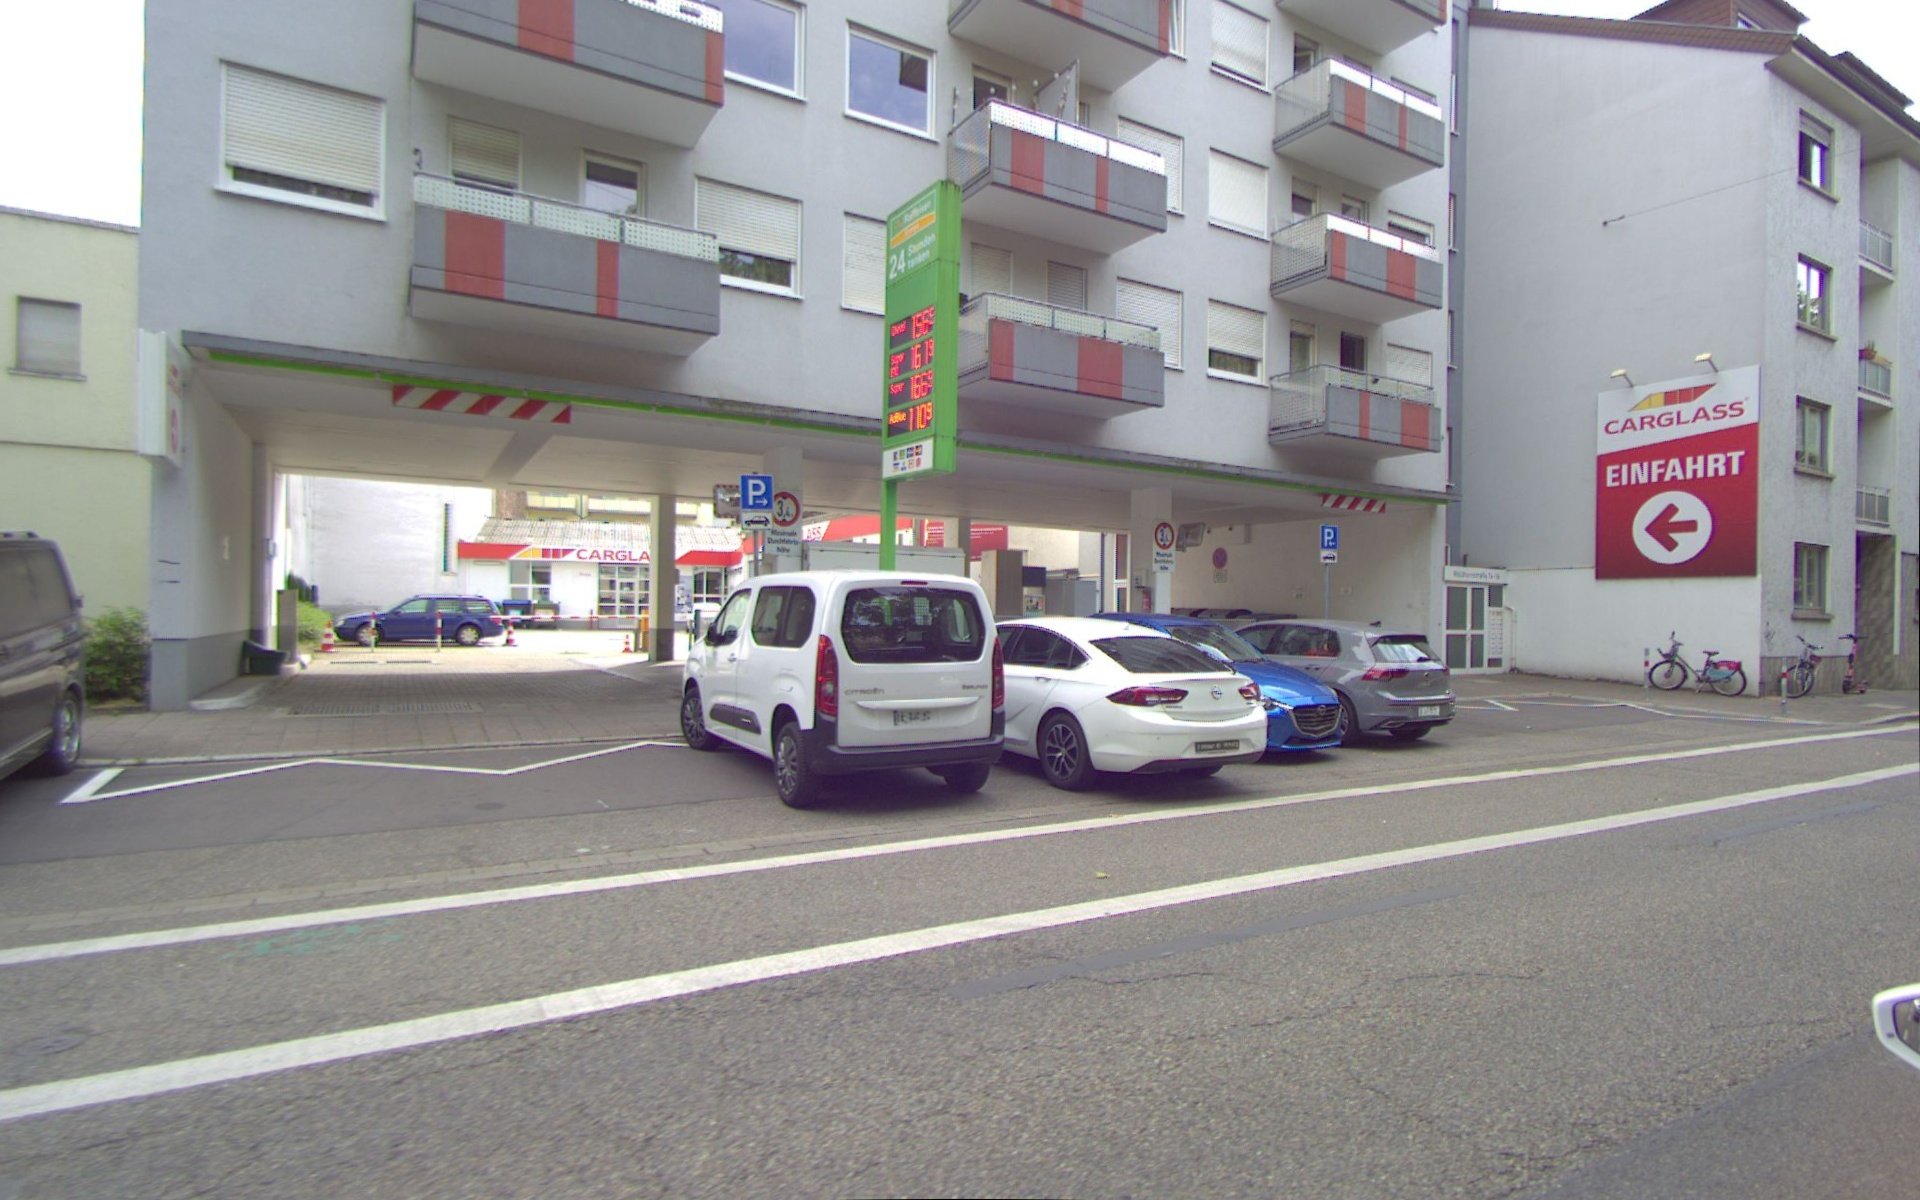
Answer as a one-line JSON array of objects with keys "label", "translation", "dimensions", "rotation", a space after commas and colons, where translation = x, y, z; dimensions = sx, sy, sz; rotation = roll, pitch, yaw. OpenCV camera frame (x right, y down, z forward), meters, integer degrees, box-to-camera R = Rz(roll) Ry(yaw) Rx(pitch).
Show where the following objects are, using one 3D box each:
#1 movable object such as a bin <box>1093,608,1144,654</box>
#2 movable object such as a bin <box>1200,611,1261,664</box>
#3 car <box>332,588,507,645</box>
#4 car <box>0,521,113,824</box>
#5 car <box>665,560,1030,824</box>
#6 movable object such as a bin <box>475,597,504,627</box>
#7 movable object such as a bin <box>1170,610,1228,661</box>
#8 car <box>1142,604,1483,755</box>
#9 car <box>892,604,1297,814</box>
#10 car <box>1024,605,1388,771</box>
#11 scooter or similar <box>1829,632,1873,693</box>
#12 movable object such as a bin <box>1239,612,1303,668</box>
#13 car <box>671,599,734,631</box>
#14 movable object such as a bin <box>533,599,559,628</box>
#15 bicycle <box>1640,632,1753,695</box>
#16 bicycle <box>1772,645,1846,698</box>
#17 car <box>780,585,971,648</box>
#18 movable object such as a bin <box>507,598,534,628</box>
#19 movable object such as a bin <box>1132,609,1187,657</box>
[{"label": "movable object such as a bin", "translation": [4.810, 0.925, 30.510], "dimensions": [1.162, 1.370, 1.039], "rotation": [1, -1, -28]}, {"label": "movable object such as a bin", "translation": [7.168, 0.978, 26.634], "dimensions": [1.162, 1.370, 1.039], "rotation": [1, -1, -28]}, {"label": "car", "translation": [-15.595, 0.472, 29.101], "dimensions": [4.317, 1.542, 1.830], "rotation": [1, 0, -31]}, {"label": "car", "translation": [-7.231, 0.436, 6.338], "dimensions": [1.969, 1.960, 4.745], "rotation": [1, 2, -29]}, {"label": "car", "translation": [-1.307, 0.603, 9.456], "dimensions": [1.901, 1.873, 4.191], "rotation": [1, 2, -30]}, {"label": "movable object such as a bin", "translation": [-23.321, 0.604, 49.806], "dimensions": [1.147, 1.462, 1.244], "rotation": [1, 0, -20]}, {"label": "movable object such as a bin", "translation": [6.576, 0.965, 27.686], "dimensions": [1.162, 1.370, 1.039], "rotation": [1, -1, -28]}, {"label": "car", "translation": [4.524, 0.912, 13.545], "dimensions": [1.815, 1.534, 4.131], "rotation": [1, 2, -30]}, {"label": "car", "translation": [1.082, 0.879, 10.165], "dimensions": [1.852, 1.470, 4.251], "rotation": [1, 2, -30]}, {"label": "car", "translation": [2.753, 0.900, 12.276], "dimensions": [1.888, 1.470, 4.280], "rotation": [1, 2, -30]}, {"label": "scooter or similar", "translation": [18.867, 1.309, 21.263], "dimensions": [1.188, 1.238, 0.348], "rotation": [1, 0, -31]}, {"label": "movable object such as a bin", "translation": [7.884, 0.994, 25.446], "dimensions": [1.162, 1.370, 1.039], "rotation": [1, -1, -28]}, {"label": "car", "translation": [-12.522, 0.734, 48.748], "dimensions": [1.715, 1.488, 3.893], "rotation": [1, -1, -35]}, {"label": "movable object such as a bin", "translation": [-20.872, 0.682, 50.659], "dimensions": [1.147, 1.462, 1.244], "rotation": [1, 0, -20]}, {"label": "bicycle", "translation": [14.703, 1.238, 20.101], "dimensions": [0.448, 1.132, 1.762], "rotation": [1, 0, -30]}, {"label": "bicycle", "translation": [16.668, 1.380, 19.719], "dimensions": [1.643, 0.963, 0.594], "rotation": [1, 0, -31]}, {"label": "car", "translation": [-1.920, 0.392, 23.011], "dimensions": [3.955, 1.315, 1.898], "rotation": [1, -1, -32]}, {"label": "movable object such as a bin", "translation": [-22.000, 0.646, 50.291], "dimensions": [1.147, 1.462, 1.244], "rotation": [1, 0, -20]}, {"label": "movable object such as a bin", "translation": [5.754, 0.946, 28.977], "dimensions": [1.162, 1.370, 1.039], "rotation": [1, -1, -28]}]
